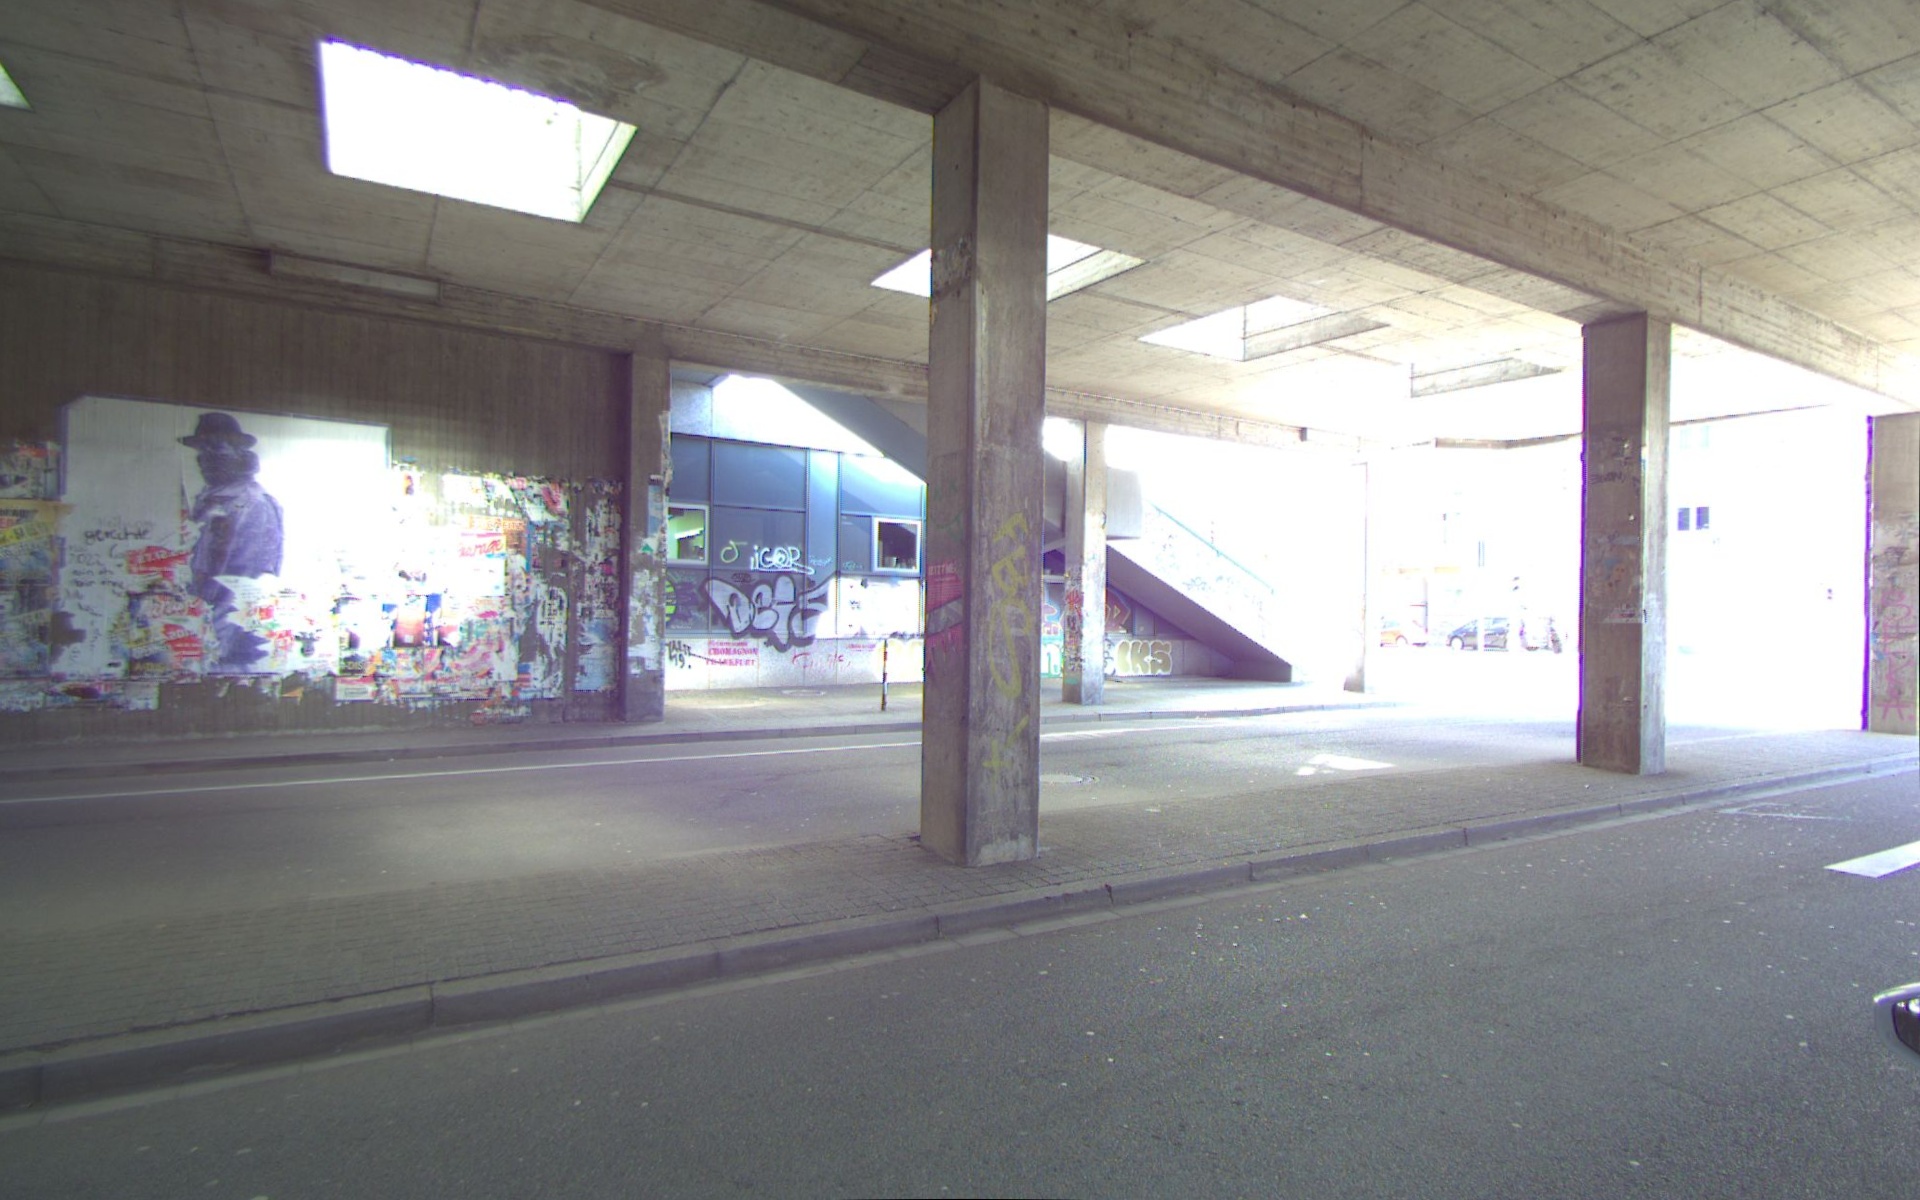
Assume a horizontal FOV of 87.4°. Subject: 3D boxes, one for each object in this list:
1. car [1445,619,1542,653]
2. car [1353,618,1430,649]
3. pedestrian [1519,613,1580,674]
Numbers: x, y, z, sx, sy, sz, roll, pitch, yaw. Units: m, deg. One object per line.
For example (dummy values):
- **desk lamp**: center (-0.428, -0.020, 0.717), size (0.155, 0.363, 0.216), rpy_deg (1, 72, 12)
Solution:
- **car**: center (25.344, 1.692, 47.835), size (1.732, 1.528, 3.735), rpy_deg (1, -1, -31)
- **car**: center (22.474, 1.743, 52.460), size (1.543, 1.526, 3.518), rpy_deg (1, -1, -29)
- **pedestrian**: center (17.517, 1.274, 29.878), size (1.123, 1.760, 1.111), rpy_deg (1, -1, -17)
